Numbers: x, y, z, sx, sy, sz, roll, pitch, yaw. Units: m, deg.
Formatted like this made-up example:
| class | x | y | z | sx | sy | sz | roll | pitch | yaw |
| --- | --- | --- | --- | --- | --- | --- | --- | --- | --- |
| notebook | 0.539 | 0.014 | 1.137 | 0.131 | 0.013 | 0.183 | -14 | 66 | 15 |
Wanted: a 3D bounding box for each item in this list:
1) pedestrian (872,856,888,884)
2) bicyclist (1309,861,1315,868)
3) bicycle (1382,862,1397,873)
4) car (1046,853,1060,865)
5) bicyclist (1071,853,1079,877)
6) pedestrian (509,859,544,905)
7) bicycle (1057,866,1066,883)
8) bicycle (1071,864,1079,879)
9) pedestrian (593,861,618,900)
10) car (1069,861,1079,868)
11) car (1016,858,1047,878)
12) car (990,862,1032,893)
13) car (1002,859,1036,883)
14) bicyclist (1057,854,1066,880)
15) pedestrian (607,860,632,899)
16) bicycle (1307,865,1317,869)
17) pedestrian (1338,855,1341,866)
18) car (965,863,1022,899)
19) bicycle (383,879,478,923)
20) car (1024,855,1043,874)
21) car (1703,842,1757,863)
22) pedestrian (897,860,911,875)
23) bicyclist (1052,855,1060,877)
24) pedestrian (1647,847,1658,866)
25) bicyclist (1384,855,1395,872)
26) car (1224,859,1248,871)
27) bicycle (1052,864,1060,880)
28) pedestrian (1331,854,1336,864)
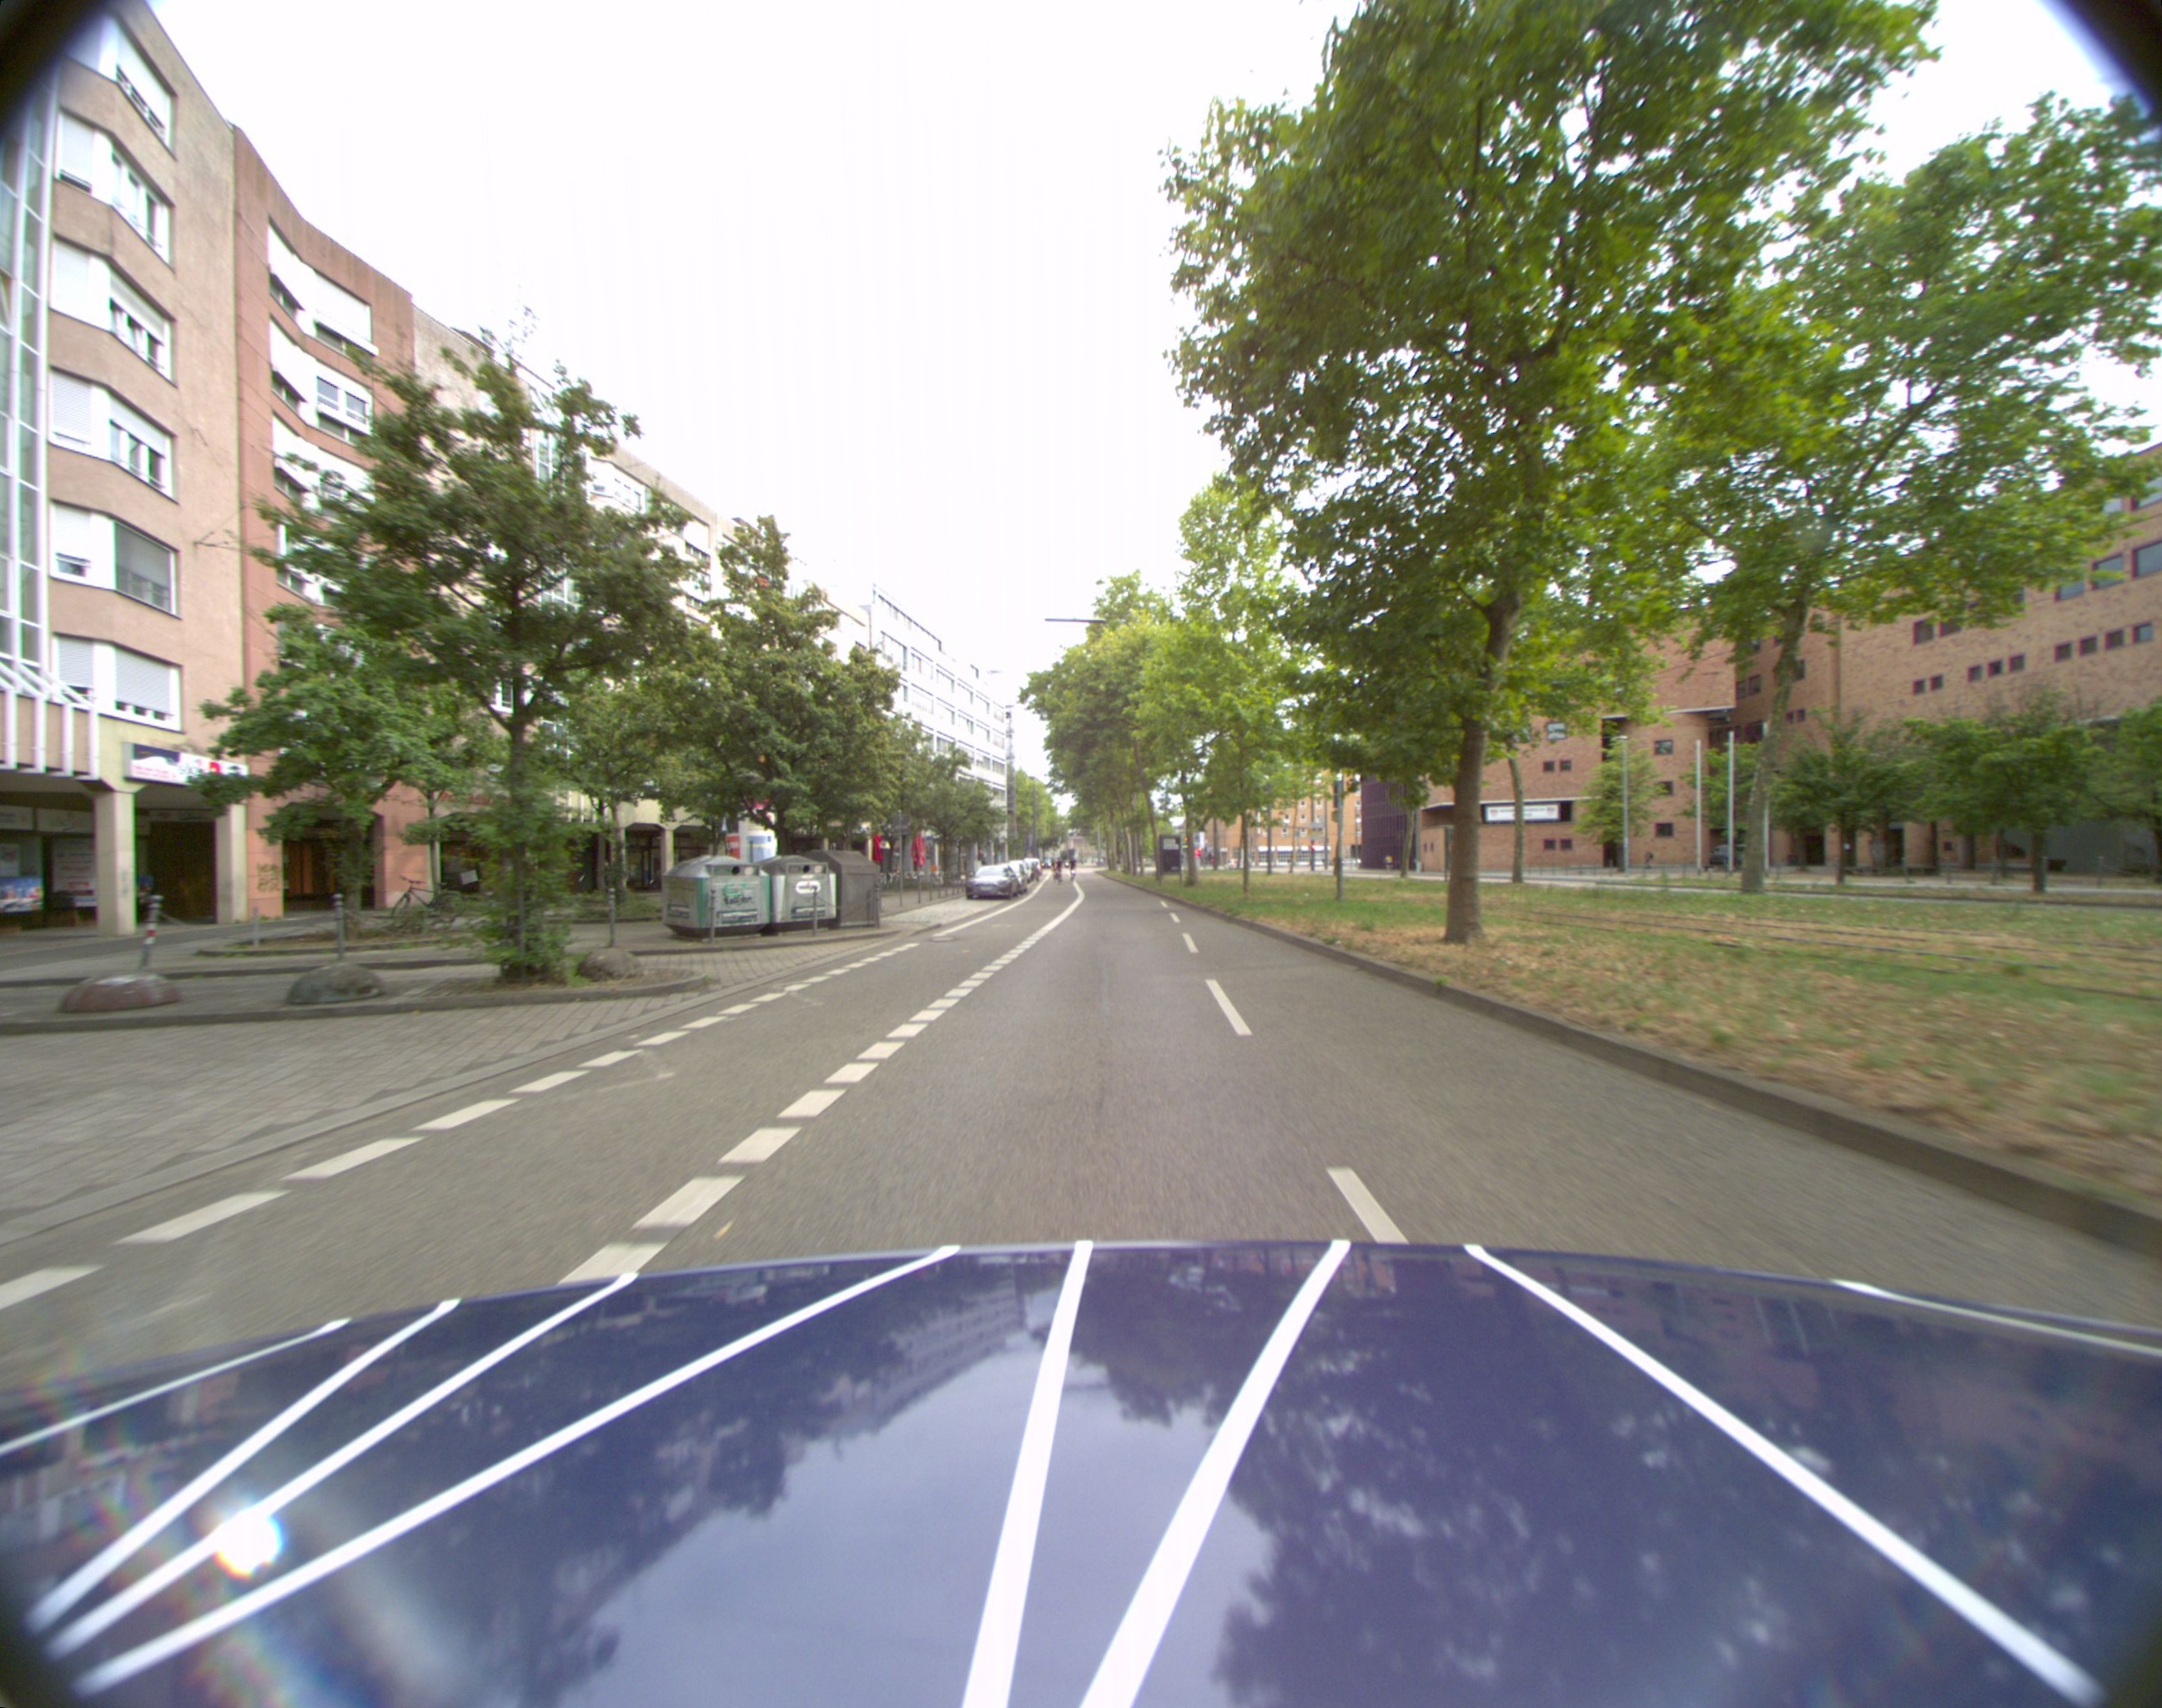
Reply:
| class | x | y | z | sx | sy | sz | roll | pitch | yaw |
| --- | --- | --- | --- | --- | --- | --- | --- | --- | --- |
| pedestrian | -11.324 | 0.906 | 42.868 | 0.606 | 1.577 | 0.682 | -1 | 0 | 9 |
| bicyclist | 44.876 | 2.026 | 147.671 | 0.865 | 1.492 | 0.636 | 0 | 1 | -3 |
| bicycle | 30.525 | 1.294 | 75.126 | 0.669 | 1.078 | 2.094 | -1 | 0 | 2 |
| car | -5.825 | 0.990 | 159.468 | 2.174 | 2.441 | 6.998 | -1 | 0 | 3 |
| bicyclist | -0.455 | 0.787 | 56.151 | 0.591 | 1.760 | 1.035 | 0 | 0 | -1 |
| pedestrian | -20.240 | 1.026 | 27.751 | 0.534 | 1.653 | 0.852 | -1 | 0 | 11 |
| bicycle | -1.326 | 1.361 | 51.791 | 0.596 | 1.132 | 2.091 | 0 | 0 | -1 |
| bicycle | -0.461 | 1.274 | 56.126 | 0.596 | 1.132 | 1.858 | 0 | 0 | -1 |
| pedestrian | -20.534 | 1.141 | 32.823 | 0.606 | 1.653 | 0.682 | -1 | 0 | 9 |
| car | -1.418 | 2.308 | 163.799 | 1.845 | 1.369 | 3.835 | -1 | -1 | 4 |
| car | -4.000 | 1.132 | 61.688 | 1.778 | 1.567 | 4.307 | 1 | 0 | 6 |
| car | -3.541 | 1.152 | 39.305 | 1.744 | 1.510 | 4.401 | 0 | 0 | 0 |
| car | -4.312 | 1.147 | 53.463 | 1.865 | 1.643 | 4.164 | 0 | 0 | 2 |
| bicyclist | -1.332 | 0.852 | 51.839 | 0.591 | 1.757 | 1.035 | 0 | 0 | -1 |
| pedestrian | -19.825 | 1.072 | 32.665 | 0.606 | 1.653 | 0.682 | -1 | 0 | 9 |
| bicycle | 44.877 | 2.570 | 147.688 | 1.796 | 0.777 | 0.640 | 0 | 1 | -3 |
| pedestrian | 45.956 | 1.160 | 135.132 | 0.524 | 2.002 | 0.447 | -1 | 0 | 14 |
| car | -3.762 | 1.140 | 33.481 | 1.821 | 1.434 | 4.666 | 0 | 0 | 2 |
| bicycle | -18.312 | 1.306 | 21.421 | 0.595 | 1.106 | 1.968 | -1 | 0 | 44 |
| car | -4.843 | 1.019 | 77.086 | 1.832 | 1.853 | 4.647 | 1 | -1 | -3 |
| car | 57.546 | -0.103 | 67.416 | 1.896 | 1.797 | 4.003 | -1 | 0 | 11 |
| pedestrian | -13.561 | 1.013 | 58.198 | 0.822 | 1.150 | 0.700 | -1 | 0 | 11 |
| bicyclist | -1.888 | 0.913 | 57.100 | 0.591 | 1.644 | 1.035 | 0 | 0 | -1 |
| pedestrian | 45.026 | 0.182 | 59.840 | 0.508 | 1.523 | 0.521 | -1 | 0 | 14 |
| bicyclist | 30.523 | 0.935 | 75.182 | 0.665 | 1.581 | 0.984 | -1 | 0 | 2 |
| car | 18.603 | 1.296 | 91.354 | 1.788 | 1.413 | 4.657 | -1 | 0 | -2 |
| bicycle | -1.880 | 1.352 | 57.123 | 0.596 | 1.132 | 1.734 | 0 | 0 | -1 |
| pedestrian | 41.315 | 0.832 | 124.475 | 0.540 | 1.721 | 0.543 | -1 | 0 | -3 |
